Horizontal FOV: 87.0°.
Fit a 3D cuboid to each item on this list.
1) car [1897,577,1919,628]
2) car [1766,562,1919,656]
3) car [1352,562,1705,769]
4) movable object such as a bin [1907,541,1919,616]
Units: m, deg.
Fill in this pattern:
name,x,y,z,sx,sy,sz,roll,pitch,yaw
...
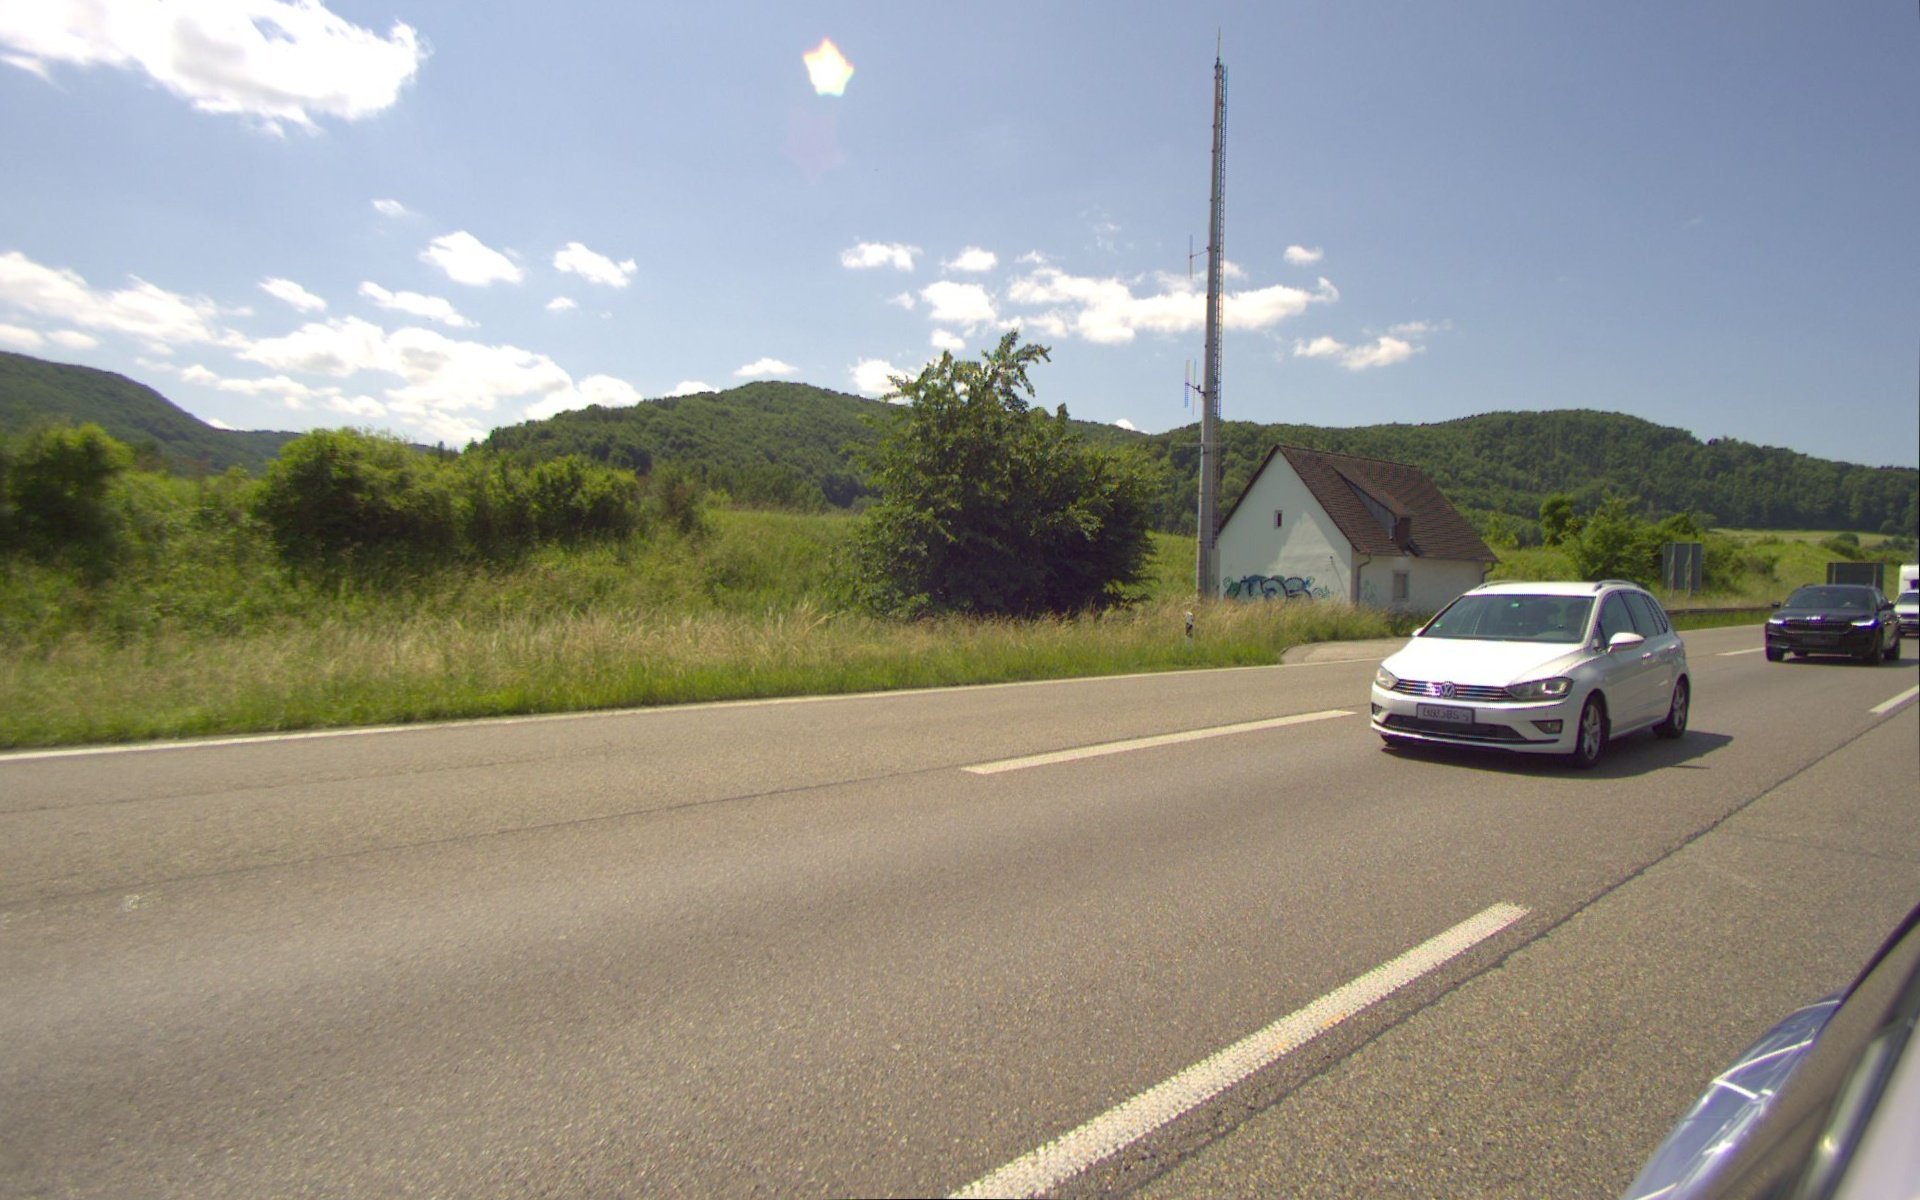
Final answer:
name,x,y,z,sx,sy,sz,roll,pitch,yaw
car,32.310,0.075,33.211,3.929,1.603,1.820,0,1,-40
car,18.911,0.135,21.569,4.097,1.794,1.893,0,2,-40
car,5.540,0.462,9.657,3.985,1.560,1.775,0,1,-42
movable object such as a bin,37.373,-0.764,37.570,6.590,2.665,2.480,0,1,-40
